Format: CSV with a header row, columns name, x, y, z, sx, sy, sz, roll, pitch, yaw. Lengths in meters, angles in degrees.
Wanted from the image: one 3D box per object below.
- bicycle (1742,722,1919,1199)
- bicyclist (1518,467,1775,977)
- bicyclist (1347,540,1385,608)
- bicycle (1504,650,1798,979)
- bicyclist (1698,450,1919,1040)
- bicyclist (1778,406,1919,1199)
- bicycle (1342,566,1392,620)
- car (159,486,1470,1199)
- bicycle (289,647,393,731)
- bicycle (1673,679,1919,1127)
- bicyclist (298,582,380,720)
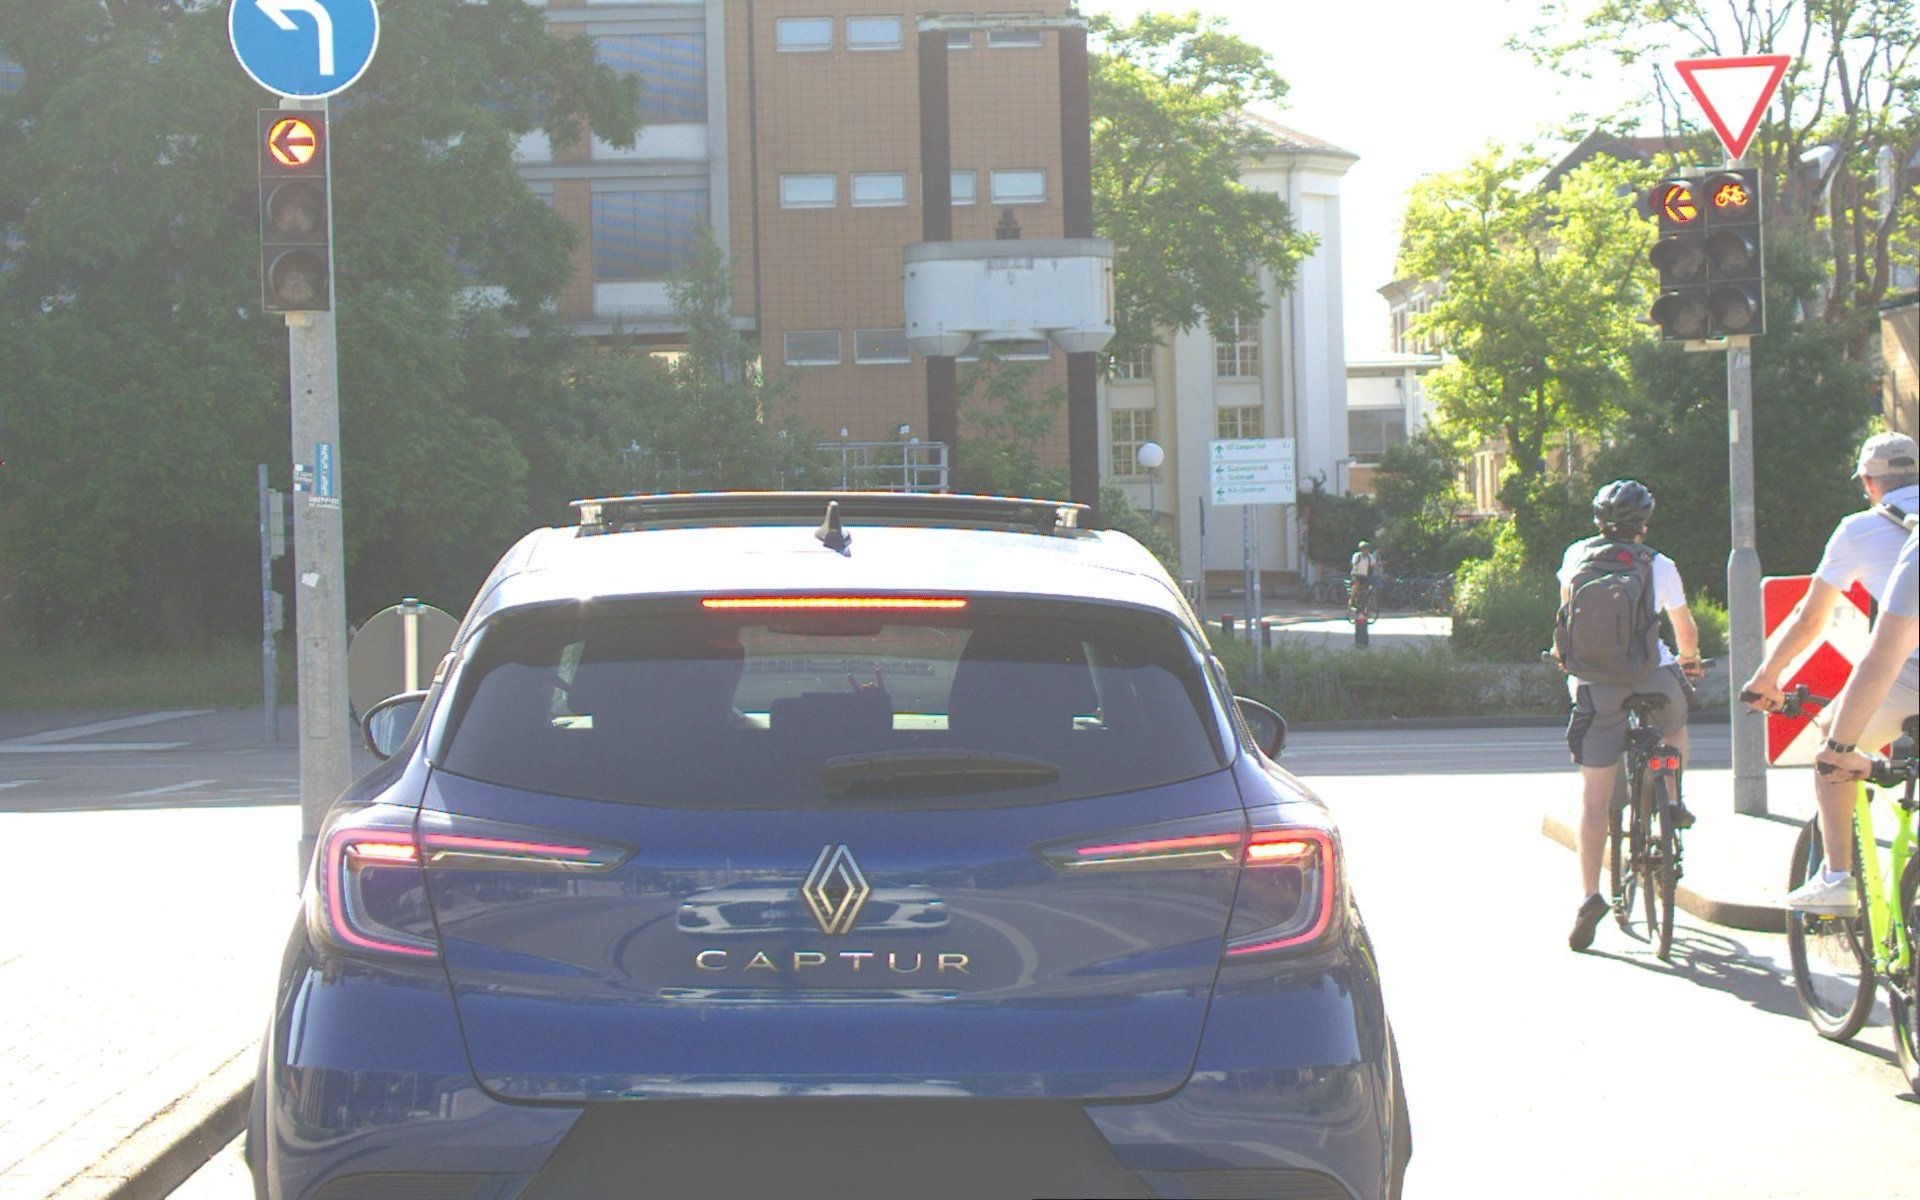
name,x,y,z,sx,sy,sz,roll,pitch,yaw
bicycle,2.230,0.847,7.277,0.689,1.085,1.922,0,1,-1
bicyclist,2.492,0.420,12.590,0.699,1.785,1.142,0,1,-1
bicyclist,8.911,-0.573,75.466,0.694,1.476,0.717,-1,1,-2
bicycle,2.536,0.755,12.826,0.689,1.085,1.922,0,1,-1
bicyclist,2.580,0.385,9.829,0.678,1.589,1.142,0,1,-1
bicyclist,2.232,0.502,7.345,0.683,1.785,1.142,0,1,-1
bicycle,8.918,-0.160,75.410,0.694,1.136,2.441,-1,1,-2
car,-0.275,0.611,6.656,1.788,1.580,3.915,0,1,-2
bicycle,-7.889,1.122,43.914,0.755,0.981,2.093,-1,1,5
bicycle,2.590,0.801,9.812,0.689,1.085,1.922,0,1,-1
bicyclist,-7.910,0.643,43.803,0.755,1.710,0.998,-1,1,5
